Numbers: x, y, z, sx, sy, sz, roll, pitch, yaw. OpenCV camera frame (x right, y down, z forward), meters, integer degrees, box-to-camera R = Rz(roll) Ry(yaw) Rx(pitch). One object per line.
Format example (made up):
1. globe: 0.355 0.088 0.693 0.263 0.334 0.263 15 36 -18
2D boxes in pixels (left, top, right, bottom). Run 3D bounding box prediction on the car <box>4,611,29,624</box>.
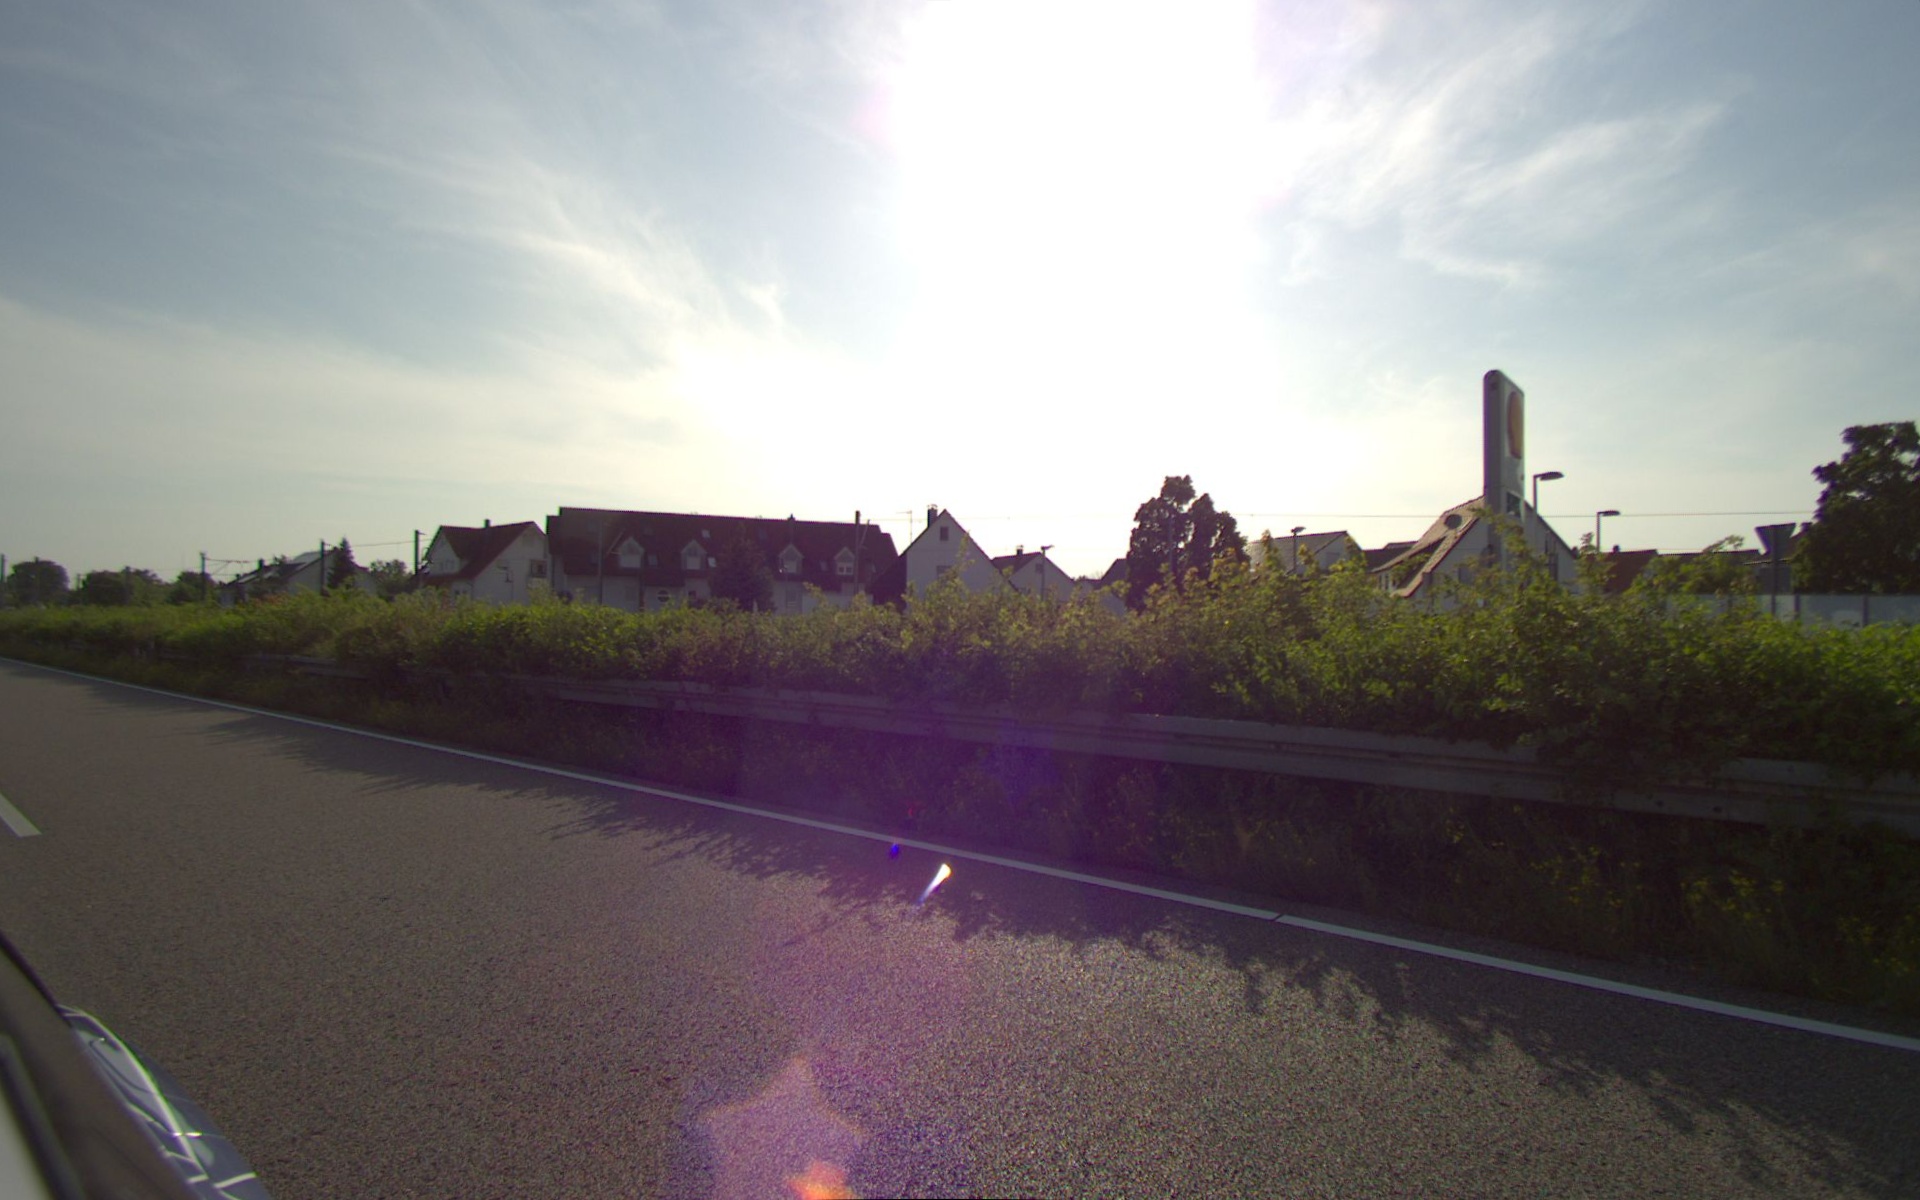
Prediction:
1. car: -123.428 2.280 132.397 3.998 1.763 1.973 -1 0 41
